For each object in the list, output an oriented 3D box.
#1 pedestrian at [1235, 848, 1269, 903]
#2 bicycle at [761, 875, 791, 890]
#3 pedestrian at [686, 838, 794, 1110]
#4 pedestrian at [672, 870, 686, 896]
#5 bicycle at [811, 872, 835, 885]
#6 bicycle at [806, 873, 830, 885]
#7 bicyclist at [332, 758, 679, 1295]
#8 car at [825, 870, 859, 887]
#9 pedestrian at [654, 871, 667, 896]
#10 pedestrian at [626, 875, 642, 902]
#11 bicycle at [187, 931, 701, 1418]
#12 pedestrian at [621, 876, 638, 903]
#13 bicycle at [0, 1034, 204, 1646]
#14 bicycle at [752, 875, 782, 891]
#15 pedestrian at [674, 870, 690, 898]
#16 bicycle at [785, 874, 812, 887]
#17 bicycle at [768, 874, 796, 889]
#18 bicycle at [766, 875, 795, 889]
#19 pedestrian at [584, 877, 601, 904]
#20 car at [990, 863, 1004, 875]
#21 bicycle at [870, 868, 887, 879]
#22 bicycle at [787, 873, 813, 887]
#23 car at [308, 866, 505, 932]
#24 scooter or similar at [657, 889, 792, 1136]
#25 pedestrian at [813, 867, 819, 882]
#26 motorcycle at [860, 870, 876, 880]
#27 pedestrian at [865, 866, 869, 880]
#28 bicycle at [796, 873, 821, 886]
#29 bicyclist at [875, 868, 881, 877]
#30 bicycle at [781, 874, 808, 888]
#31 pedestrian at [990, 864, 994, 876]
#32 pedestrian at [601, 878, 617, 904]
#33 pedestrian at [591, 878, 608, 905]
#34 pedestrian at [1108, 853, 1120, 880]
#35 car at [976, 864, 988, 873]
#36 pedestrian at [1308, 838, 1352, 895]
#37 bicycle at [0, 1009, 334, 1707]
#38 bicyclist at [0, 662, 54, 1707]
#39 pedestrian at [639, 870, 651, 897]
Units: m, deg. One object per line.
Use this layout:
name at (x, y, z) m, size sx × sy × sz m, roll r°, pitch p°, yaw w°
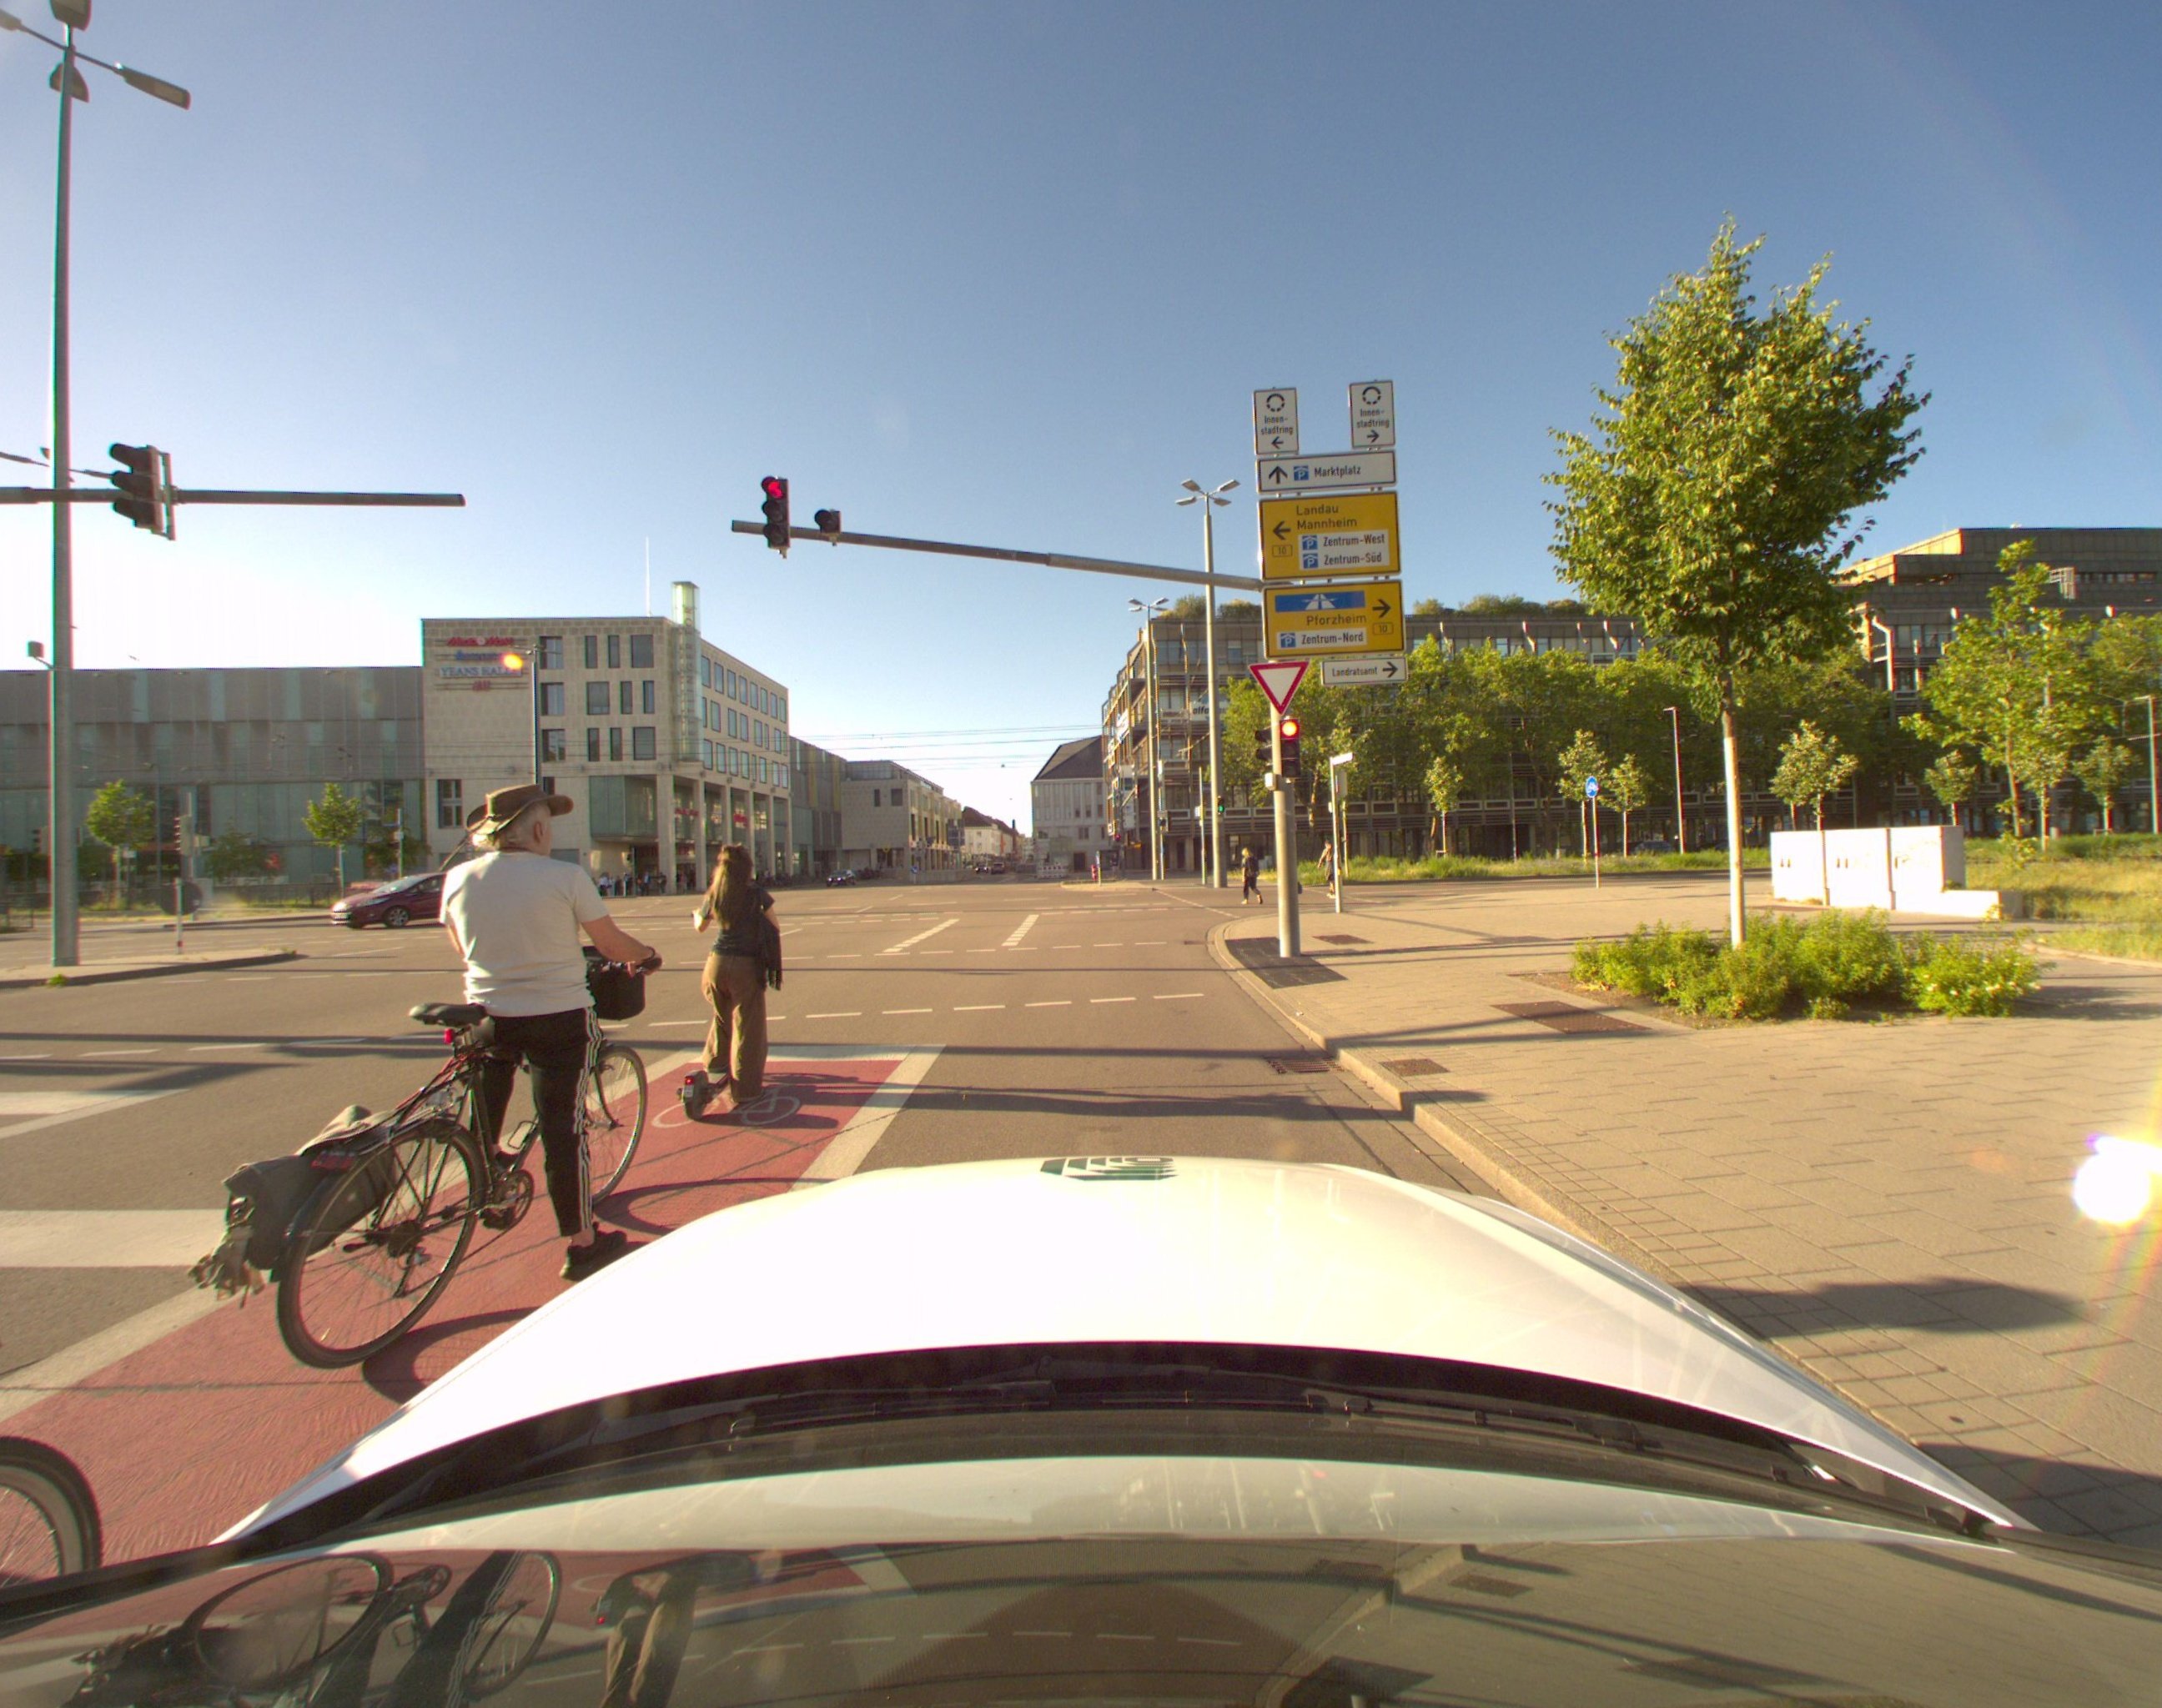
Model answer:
pedestrian at (4.672, 0.579, 22.293) m, size 0.785 × 1.492 × 0.644 m, roll 0°, pitch -1°, yaw 1°
bicycle at (-26.473, 2.465, 70.638) m, size 2.299 × 1.222 × 0.612 m, roll -2°, pitch -1°, yaw -1°
pedestrian at (-2.169, 0.720, 5.233) m, size 0.549 × 1.633 × 0.569 m, roll 0°, pitch -1°, yaw -13°
pedestrian at (-29.116, 2.105, 58.927) m, size 0.801 × 1.843 × 0.855 m, roll -2°, pitch 0°, yaw -30°
bicycle at (-27.436, 2.615, 86.634) m, size 2.299 × 1.222 × 0.612 m, roll -2°, pitch -1°, yaw -1°
bicycle at (-27.600, 2.606, 85.568) m, size 2.299 × 1.222 × 0.612 m, roll -2°, pitch -1°, yaw -1°
bicyclist at (-2.063, 0.556, 3.051) m, size 0.658 × 1.720 × 0.866 m, roll 0°, pitch -1°, yaw 1°
car at (-20.636, 2.102, 70.495) m, size 1.625 × 1.342 × 3.999 m, roll -4°, pitch -1°, yaw 0°
pedestrian at (-30.803, 2.158, 59.653) m, size 0.800 × 1.843 × 0.856 m, roll -2°, pitch 0°, yaw -26°
pedestrian at (-32.523, 2.506, 59.230) m, size 0.783 × 1.885 × 0.716 m, roll 0°, pitch -1°, yaw -4°
bicycle at (-2.155, 0.956, 3.128) m, size 0.483 × 1.156 × 1.832 m, roll 0°, pitch -1°, yaw 2°
pedestrian at (-31.957, 2.488, 57.679) m, size 0.783 × 1.885 × 0.716 m, roll 0°, pitch -1°, yaw -4°
bicycle at (-2.429, 0.993, 0.970) m, size 0.645 × 1.109 × 1.970 m, roll 0°, pitch 0°, yaw -1°
bicycle at (-26.745, 2.455, 69.361) m, size 2.299 × 1.222 × 0.612 m, roll -2°, pitch -1°, yaw -1°
pedestrian at (-29.634, 2.218, 60.530) m, size 0.883 × 2.014 × 0.771 m, roll 0°, pitch -1°, yaw -9°
bicycle at (-27.075, 2.536, 78.118) m, size 2.299 × 1.222 × 0.612 m, roll -2°, pitch -1°, yaw -1°
bicycle at (-26.752, 2.487, 72.883) m, size 2.299 × 1.222 × 0.612 m, roll -2°, pitch -1°, yaw -1°
bicycle at (-26.576, 2.478, 71.998) m, size 2.299 × 1.222 × 0.612 m, roll -2°, pitch -1°, yaw -1°
pedestrian at (-35.044, 2.596, 58.452) m, size 0.783 × 1.885 × 0.716 m, roll 0°, pitch -1°, yaw -4°
car at (-11.151, 1.939, 108.643) m, size 1.735 × 1.531 × 3.848 m, roll 0°, pitch -1°, yaw -5°
bicycle at (-24.149, 2.340, 97.090) m, size 1.816 × 1.206 × 0.507 m, roll 0°, pitch 0°, yaw -31°
bicycle at (-27.641, 2.558, 80.113) m, size 2.299 × 1.222 × 0.612 m, roll -2°, pitch -1°, yaw -1°
car at (-18.665, 1.196, 22.771) m, size 1.640 × 1.585 × 3.916 m, roll -2°, pitch -1°, yaw 19°
scooter or similar at (-2.163, 0.885, 5.064) m, size 0.547 × 1.294 × 1.188 m, roll 0°, pitch -1°, yaw -13°
pedestrian at (-30.426, 2.386, 93.433) m, size 0.553 × 1.679 × 0.606 m, roll 0°, pitch 0°, yaw -8°
motorcycle at (-25.794, 2.499, 98.726) m, size 1.807 × 1.206 × 0.509 m, roll 0°, pitch 0°, yaw -14°
pedestrian at (-26.115, 2.260, 99.342) m, size 0.521 × 1.679 × 0.580 m, roll 0°, pitch 0°, yaw -12°
bicycle at (-27.197, 2.565, 81.330) m, size 2.299 × 1.222 × 0.612 m, roll -2°, pitch -1°, yaw -1°
bicyclist at (-24.199, 2.217, 97.058) m, size 0.627 × 1.084 × 0.507 m, roll 0°, pitch 0°, yaw -31°
bicycle at (-26.708, 2.514, 75.950) m, size 2.299 × 1.222 × 0.612 m, roll -2°, pitch -1°, yaw -1°
pedestrian at (-12.839, 2.327, 117.551) m, size 0.520 × 1.679 × 0.582 m, roll 0°, pitch 0°, yaw -5°
pedestrian at (-34.002, 2.662, 58.706) m, size 0.714 × 1.885 × 0.786 m, roll 0°, pitch -1°, yaw -6°
pedestrian at (-33.879, 2.649, 57.360) m, size 0.783 × 1.885 × 0.716 m, roll 0°, pitch -1°, yaw -4°
pedestrian at (2.314, 0.865, 57.402) m, size 0.785 × 1.890 × 0.644 m, roll 0°, pitch -1°, yaw 1°
car at (-17.146, 2.501, 140.981) m, size 1.793 × 1.657 × 3.997 m, roll 0°, pitch -1°, yaw -2°
pedestrian at (7.427, 0.381, 24.338) m, size 0.880 × 1.665 × 0.960 m, roll 0°, pitch -1°, yaw -14°
bicycle at (-1.669, 0.897, 0.569) m, size 0.614 × 1.218 × 1.831 m, roll 0°, pitch 0°, yaw -1°
bicyclist at (-1.668, 0.551, 0.626) m, size 0.639 × 1.579 × 0.875 m, roll 0°, pitch 0°, yaw -1°
pedestrian at (-31.218, 2.120, 58.351) m, size 0.718 × 1.885 × 0.781 m, roll 0°, pitch -1°, yaw -25°
